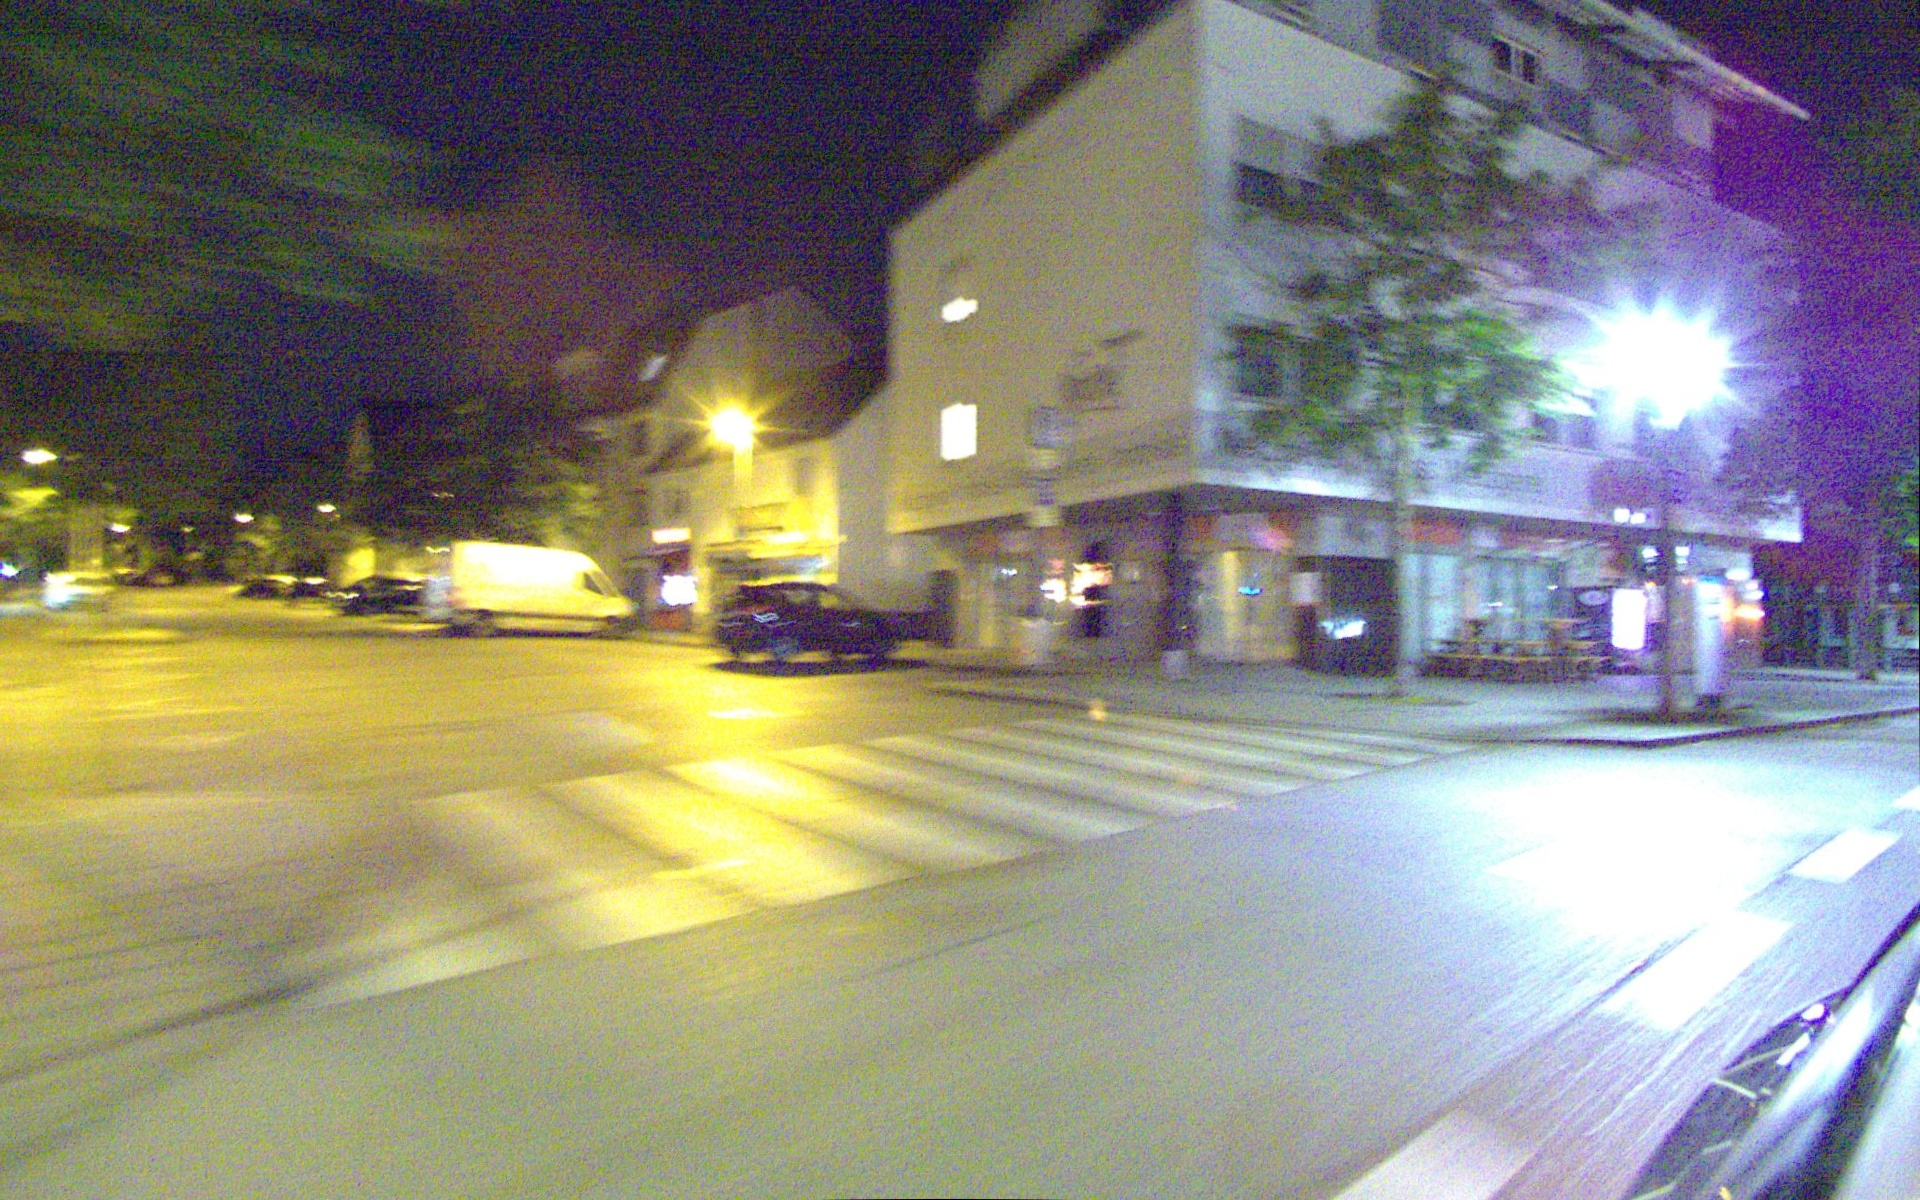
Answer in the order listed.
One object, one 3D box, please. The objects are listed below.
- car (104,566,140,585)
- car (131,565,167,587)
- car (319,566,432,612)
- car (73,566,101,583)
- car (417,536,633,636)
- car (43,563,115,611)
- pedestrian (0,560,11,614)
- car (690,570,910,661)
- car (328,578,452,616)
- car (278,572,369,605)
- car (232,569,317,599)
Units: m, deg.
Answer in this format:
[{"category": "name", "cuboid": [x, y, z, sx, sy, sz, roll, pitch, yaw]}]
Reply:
[{"category": "car", "cuboid": [-78.666, -2.310, 94.985, 4.195, 1.715, 1.848, 2, -1, 41]}, {"category": "car", "cuboid": [-70.064, -2.073, 87.389, 4.201, 1.715, 1.913, 2, -1, 45]}, {"category": "car", "cuboid": [-26.645, -0.467, 46.183, 4.138, 1.890, 1.997, 3, -1, -41]}, {"category": "car", "cuboid": [-92.018, -2.701, 106.672, 3.984, 1.749, 1.811, 0, 1, 42]}, {"category": "car", "cuboid": [-12.534, -0.308, 29.540, 1.991, 2.624, 5.423, 0, -2, 40]}, {"category": "car", "cuboid": [-34.963, -0.537, 40.131, 1.966, 1.715, 4.204, 3, -1, -43]}, {"category": "pedestrian", "cuboid": [-29.953, -0.392, 31.397, 0.611, 1.668, 0.704, 0, 0, 45]}, {"category": "car", "cuboid": [-3.271, 0.358, 21.168, 4.142, 1.716, 1.995, 3, -2, -44]}, {"category": "car", "cuboid": [-24.841, -0.107, 44.179, 4.408, 1.450, 1.997, 3, -1, -41]}, {"category": "car", "cuboid": [-36.219, -0.649, 57.596, 4.137, 1.647, 1.879, 3, -1, -40]}, {"category": "car", "cuboid": [-43.438, -0.992, 64.168, 4.140, 1.715, 1.996, 3, -1, -42]}]
